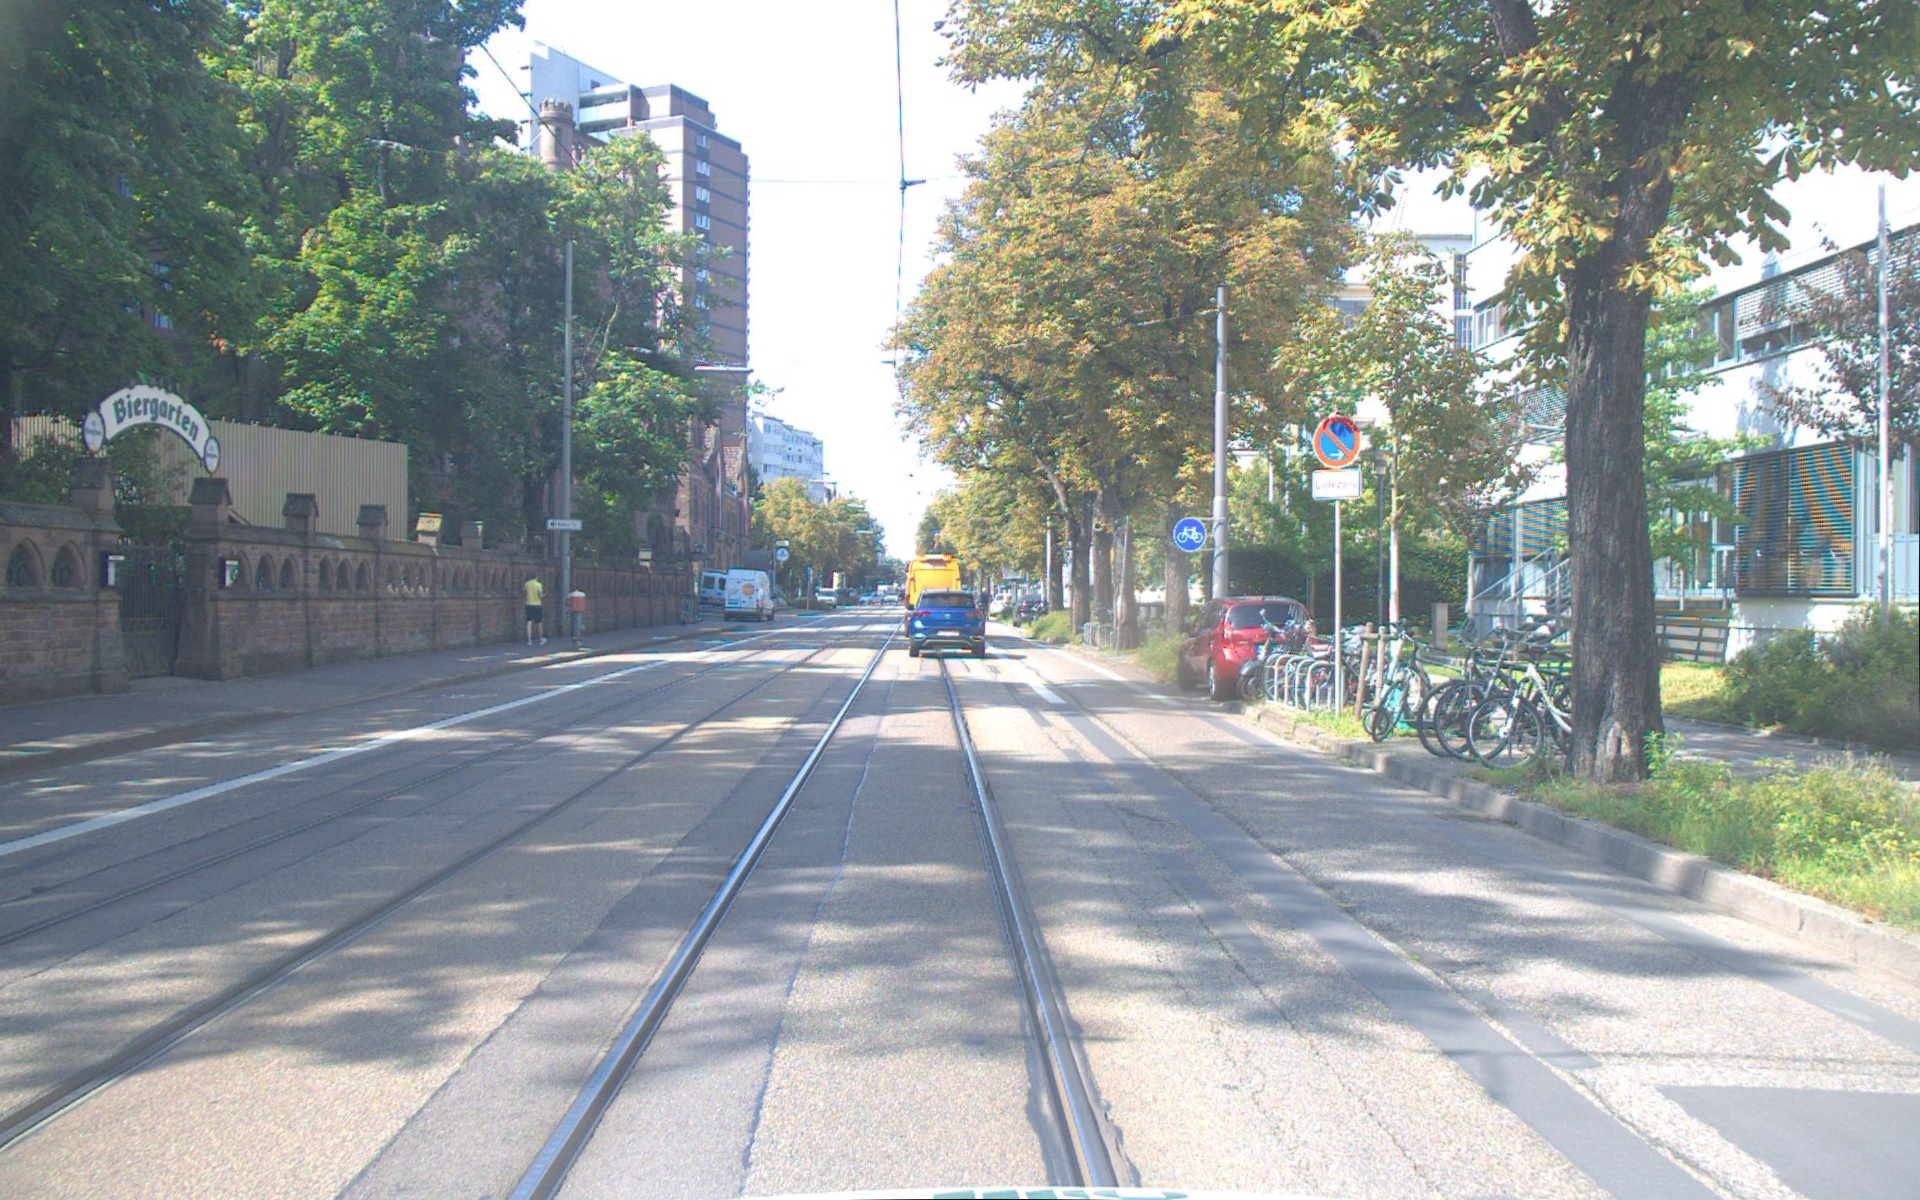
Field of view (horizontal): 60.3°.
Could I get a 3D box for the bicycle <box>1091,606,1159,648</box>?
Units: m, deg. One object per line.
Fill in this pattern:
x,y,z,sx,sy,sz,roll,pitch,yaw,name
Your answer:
4.364,0.710,43.793,1.735,1.068,0.540,-1,0,-3,bicycle

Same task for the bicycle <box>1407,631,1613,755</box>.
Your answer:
5.101,0.856,15.380,1.735,1.090,0.540,-1,0,-3,bicycle

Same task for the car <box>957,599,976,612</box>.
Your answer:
0.727,0.606,182.532,1.869,1.457,4.290,1,0,-2,car

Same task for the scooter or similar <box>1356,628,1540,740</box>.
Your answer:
5.005,0.853,17.010,1.735,1.090,0.540,-1,0,-3,scooter or similar

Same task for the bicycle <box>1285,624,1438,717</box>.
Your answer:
4.888,0.849,20.177,1.735,1.090,0.540,-1,0,-3,bicycle

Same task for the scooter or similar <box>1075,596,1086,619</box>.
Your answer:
6.852,0.434,93.969,0.544,1.281,1.818,1,0,1,scooter or similar

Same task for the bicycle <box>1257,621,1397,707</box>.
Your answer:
4.893,0.847,22.091,1.735,1.090,0.540,-1,0,-3,bicycle

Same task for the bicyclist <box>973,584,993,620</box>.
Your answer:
1.201,0.097,86.219,1.011,1.844,1.016,1,0,-2,bicyclist

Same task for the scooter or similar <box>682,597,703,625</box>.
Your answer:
-11.495,0.484,71.082,0.332,1.199,1.177,0,0,24,scooter or similar

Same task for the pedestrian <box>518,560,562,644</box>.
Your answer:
-10.444,0.051,41.145,0.847,2.049,0.983,1,0,-3,pedestrian

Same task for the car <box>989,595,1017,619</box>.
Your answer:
2.823,0.474,108.936,1.625,1.507,4.216,0,0,-1,car

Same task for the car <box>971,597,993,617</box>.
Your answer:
1.807,0.595,138.843,1.707,1.583,4.216,0,0,-1,car

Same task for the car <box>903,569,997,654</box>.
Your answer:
-0.277,0.257,39.950,2.092,1.891,5.566,0,0,-1,car

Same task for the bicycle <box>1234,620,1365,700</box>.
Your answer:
4.825,0.845,23.538,1.735,1.090,0.540,-1,0,-3,bicycle

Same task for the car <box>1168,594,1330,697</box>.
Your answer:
4.486,0.649,26.224,1.720,1.487,4.273,0,0,-1,car

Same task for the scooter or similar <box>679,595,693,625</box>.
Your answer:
-11.072,0.400,66.792,0.414,1.199,1.310,1,0,-17,scooter or similar

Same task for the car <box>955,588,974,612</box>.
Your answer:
0.483,-0.014,193.122,1.953,2.804,5.758,1,0,-2,car

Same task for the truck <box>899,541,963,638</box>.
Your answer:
-1.020,-0.352,57.420,2.092,3.179,6.083,0,0,-1,truck

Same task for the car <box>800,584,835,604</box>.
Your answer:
-13.450,-0.599,155.956,1.730,1.828,3.957,1,0,-32,car

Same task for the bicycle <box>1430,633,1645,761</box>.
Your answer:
5.156,0.857,14.803,1.735,1.090,0.540,-1,0,-3,bicycle

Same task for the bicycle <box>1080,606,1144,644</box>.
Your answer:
4.316,0.707,46.950,1.735,1.068,0.540,-1,0,-3,bicycle

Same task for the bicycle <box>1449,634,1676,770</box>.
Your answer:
5.116,0.857,14.084,1.735,1.090,0.540,-1,0,-3,bicycle

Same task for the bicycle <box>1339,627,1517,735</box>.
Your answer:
4.972,0.852,17.597,1.735,1.090,0.540,-1,0,-3,bicycle

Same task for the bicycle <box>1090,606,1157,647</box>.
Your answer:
4.392,0.710,44.472,1.735,1.068,0.540,-1,0,-3,bicycle

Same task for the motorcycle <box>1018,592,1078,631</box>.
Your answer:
3.582,0.467,67.405,2.407,1.542,0.849,1,0,37,motorcycle

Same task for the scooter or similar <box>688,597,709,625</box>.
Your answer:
-11.620,0.480,73.385,0.332,1.199,1.177,0,0,24,scooter or similar

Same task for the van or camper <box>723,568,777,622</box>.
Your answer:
-10.985,-0.232,86.966,2.069,2.722,5.955,1,0,0,van or camper

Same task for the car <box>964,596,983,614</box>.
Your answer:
1.322,0.448,162.026,1.705,1.697,4.360,1,0,-2,car

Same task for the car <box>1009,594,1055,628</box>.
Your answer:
3.366,0.491,78.066,1.721,1.542,4.607,-1,0,-3,car

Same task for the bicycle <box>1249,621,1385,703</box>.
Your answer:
4.903,0.847,22.766,1.735,1.090,0.540,-1,0,-3,bicycle

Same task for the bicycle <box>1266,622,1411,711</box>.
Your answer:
4.862,0.848,21.279,1.735,1.090,0.540,-1,0,-3,bicycle

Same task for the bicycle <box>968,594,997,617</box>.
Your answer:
1.164,0.270,86.207,1.373,1.154,3.999,0,0,-1,bicycle

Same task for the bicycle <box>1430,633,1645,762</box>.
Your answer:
5.146,0.857,14.781,1.735,1.090,0.540,-1,0,-3,bicycle

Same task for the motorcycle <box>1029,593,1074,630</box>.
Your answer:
3.805,0.468,69.112,0.839,1.542,2.435,1,0,-26,motorcycle

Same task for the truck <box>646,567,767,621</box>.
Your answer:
-14.015,-0.362,91.731,6.189,2.582,2.132,3,1,3,truck
